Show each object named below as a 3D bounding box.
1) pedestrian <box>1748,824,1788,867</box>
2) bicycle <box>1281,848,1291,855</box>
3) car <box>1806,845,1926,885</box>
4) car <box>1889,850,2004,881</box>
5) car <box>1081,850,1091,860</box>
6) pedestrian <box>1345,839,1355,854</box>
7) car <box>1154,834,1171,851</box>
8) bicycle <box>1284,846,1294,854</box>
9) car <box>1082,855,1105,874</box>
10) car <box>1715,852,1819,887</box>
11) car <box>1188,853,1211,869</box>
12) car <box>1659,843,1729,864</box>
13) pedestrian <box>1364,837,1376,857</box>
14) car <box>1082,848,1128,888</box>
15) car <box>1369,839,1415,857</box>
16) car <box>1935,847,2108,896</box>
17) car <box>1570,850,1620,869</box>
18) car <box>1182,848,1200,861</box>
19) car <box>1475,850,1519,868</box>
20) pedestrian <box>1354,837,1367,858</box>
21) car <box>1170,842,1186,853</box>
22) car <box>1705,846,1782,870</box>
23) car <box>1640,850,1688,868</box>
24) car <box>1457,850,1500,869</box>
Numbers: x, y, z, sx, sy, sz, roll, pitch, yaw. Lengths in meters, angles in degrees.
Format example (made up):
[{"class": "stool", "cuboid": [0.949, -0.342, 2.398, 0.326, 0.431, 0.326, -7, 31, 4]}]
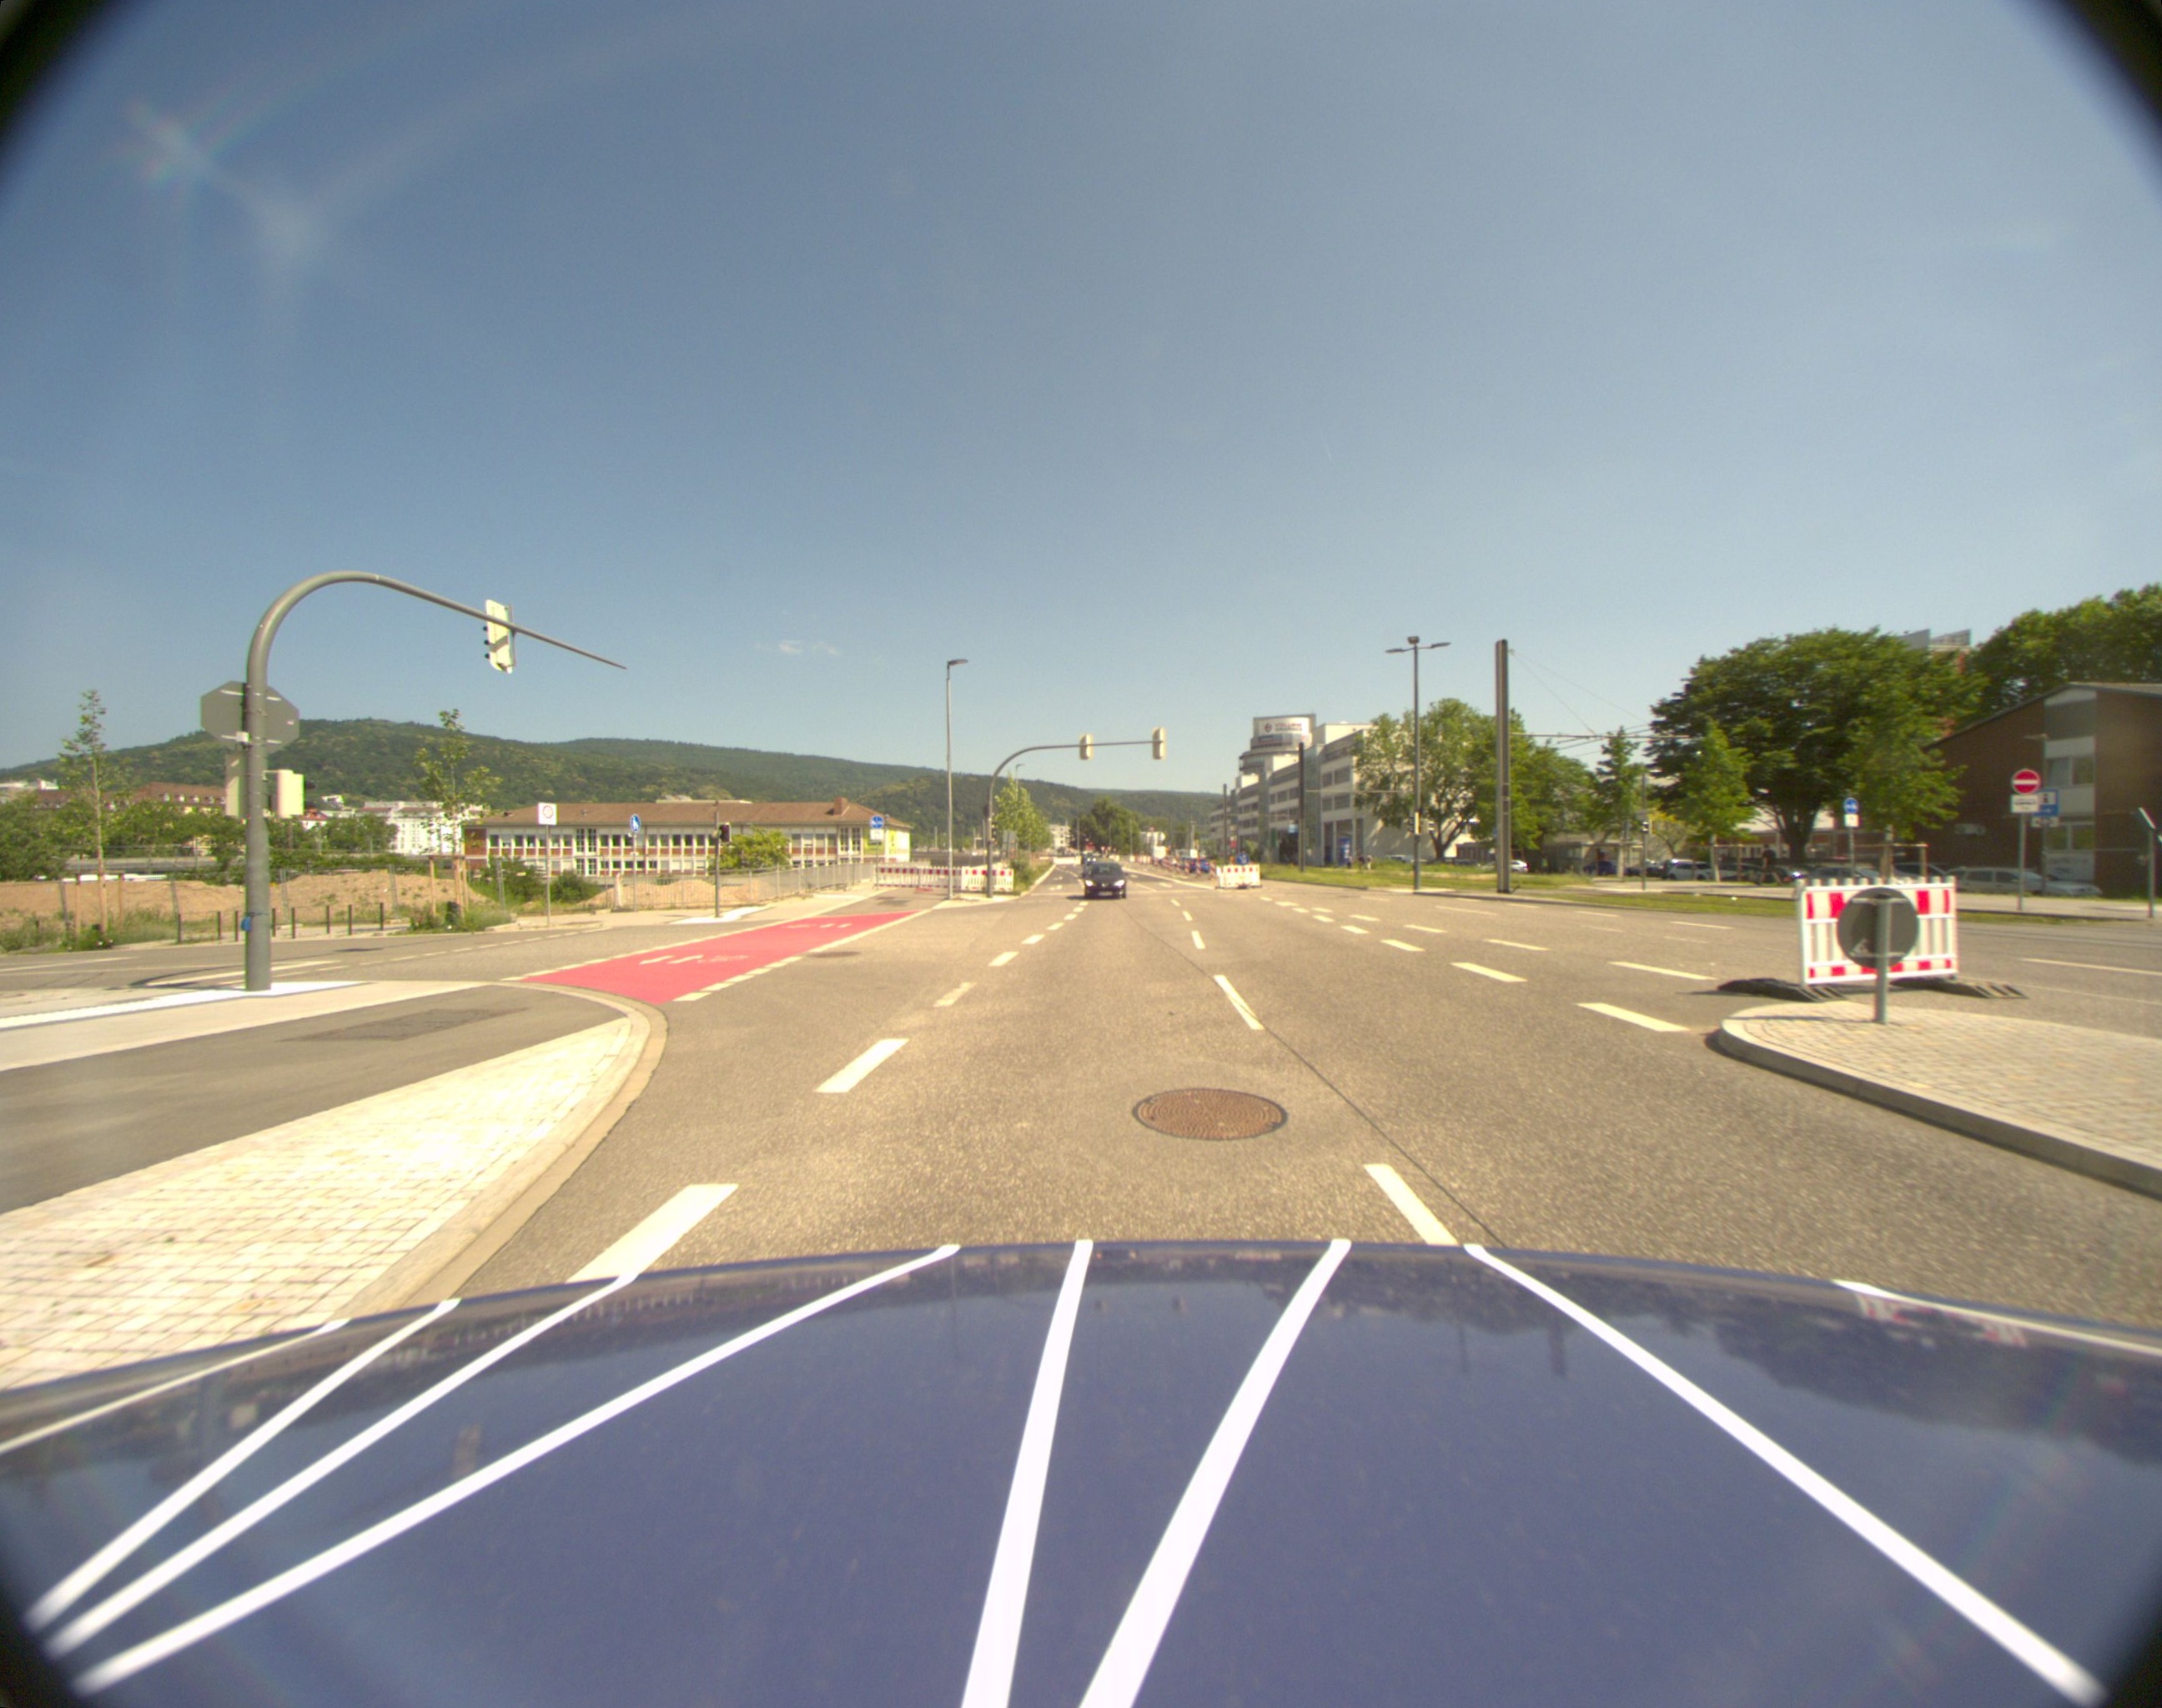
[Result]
[{"class": "pedestrian", "cuboid": [30.063, -0.391, 33.261, 0.813, 1.836, 1.107, -1, 1, 5]}, {"class": "bicycle", "cuboid": [36.901, -0.410, 136.483, 1.650, 1.182, 0.522, -2, 1, 5]}, {"class": "car", "cuboid": [37.771, 0.479, 36.705, 1.702, 1.751, 3.938, -1, 1, 0]}, {"class": "car", "cuboid": [43.897, 0.564, 38.672, 1.542, 1.449, 3.787, -1, 0, -1]}, {"class": "car", "cuboid": [0.881, 0.141, 125.949, 1.618, 1.433, 3.767, -2, 1, 0]}, {"class": "pedestrian", "cuboid": [28.942, -0.786, 81.809, 0.816, 1.567, 0.827, -1, 1, 4]}, {"class": "car", "cuboid": [13.097, -1.902, 123.045, 2.082, 2.724, 5.985, 1, 1, 0]}, {"class": "bicycle", "cuboid": [37.044, -0.712, 135.129, 1.650, 1.182, 0.438, -2, 1, 5]}, {"class": "car", "cuboid": [0.978, 0.786, 60.170, 1.619, 1.433, 3.767, 0, 0, -2]}, {"class": "car", "cuboid": [38.044, 0.818, 42.306, 1.702, 1.751, 4.529, -1, 1, -1]}, {"class": "car", "cuboid": [11.002, 0.648, 70.615, 1.632, 1.419, 4.291, -1, 0, 3]}, {"class": "car", "cuboid": [44.149, -0.048, 54.839, 1.542, 1.449, 4.267, -1, 0, -1]}, {"class": "pedestrian", "cuboid": [28.986, -0.723, 76.209, 0.841, 2.002, 0.983, -2, 1, 2]}, {"class": "car", "cuboid": [0.899, 0.511, 30.325, 1.619, 1.433, 3.705, -1, 1, -2]}, {"class": "car", "cuboid": [37.578, -0.749, 91.832, 5.063, 2.167, 2.117, 0, 1, 26]}, {"class": "car", "cuboid": [38.121, 0.634, 30.988, 1.702, 1.751, 4.299, -1, 1, -1]}, {"class": "car", "cuboid": [46.130, 0.505, 68.273, 1.773, 1.581, 3.635, -3, 1, -6]}, {"class": "car", "cuboid": [12.387, 0.030, 85.902, 1.584, 1.408, 4.296, 0, 1, 3]}, {"class": "car", "cuboid": [38.719, 0.437, 70.835, 1.773, 1.581, 3.635, -3, 1, -6]}, {"class": "pedestrian", "cuboid": [28.076, -0.660, 76.342, 0.985, 2.002, 0.910, -2, 1, 2]}, {"class": "car", "cuboid": [13.495, -0.921, 105.982, 1.678, 1.435, 4.467, 1, 1, 0]}, {"class": "car", "cuboid": [43.103, 0.230, 49.562, 1.543, 1.449, 3.785, -1, 1, -5]}, {"class": "car", "cuboid": [50.533, 0.435, 65.937, 1.541, 1.444, 3.345, -2, 1, -2]}, {"class": "car", "cuboid": [36.395, 0.507, 69.601, 1.773, 1.581, 3.635, -3, 1, -6]}]
